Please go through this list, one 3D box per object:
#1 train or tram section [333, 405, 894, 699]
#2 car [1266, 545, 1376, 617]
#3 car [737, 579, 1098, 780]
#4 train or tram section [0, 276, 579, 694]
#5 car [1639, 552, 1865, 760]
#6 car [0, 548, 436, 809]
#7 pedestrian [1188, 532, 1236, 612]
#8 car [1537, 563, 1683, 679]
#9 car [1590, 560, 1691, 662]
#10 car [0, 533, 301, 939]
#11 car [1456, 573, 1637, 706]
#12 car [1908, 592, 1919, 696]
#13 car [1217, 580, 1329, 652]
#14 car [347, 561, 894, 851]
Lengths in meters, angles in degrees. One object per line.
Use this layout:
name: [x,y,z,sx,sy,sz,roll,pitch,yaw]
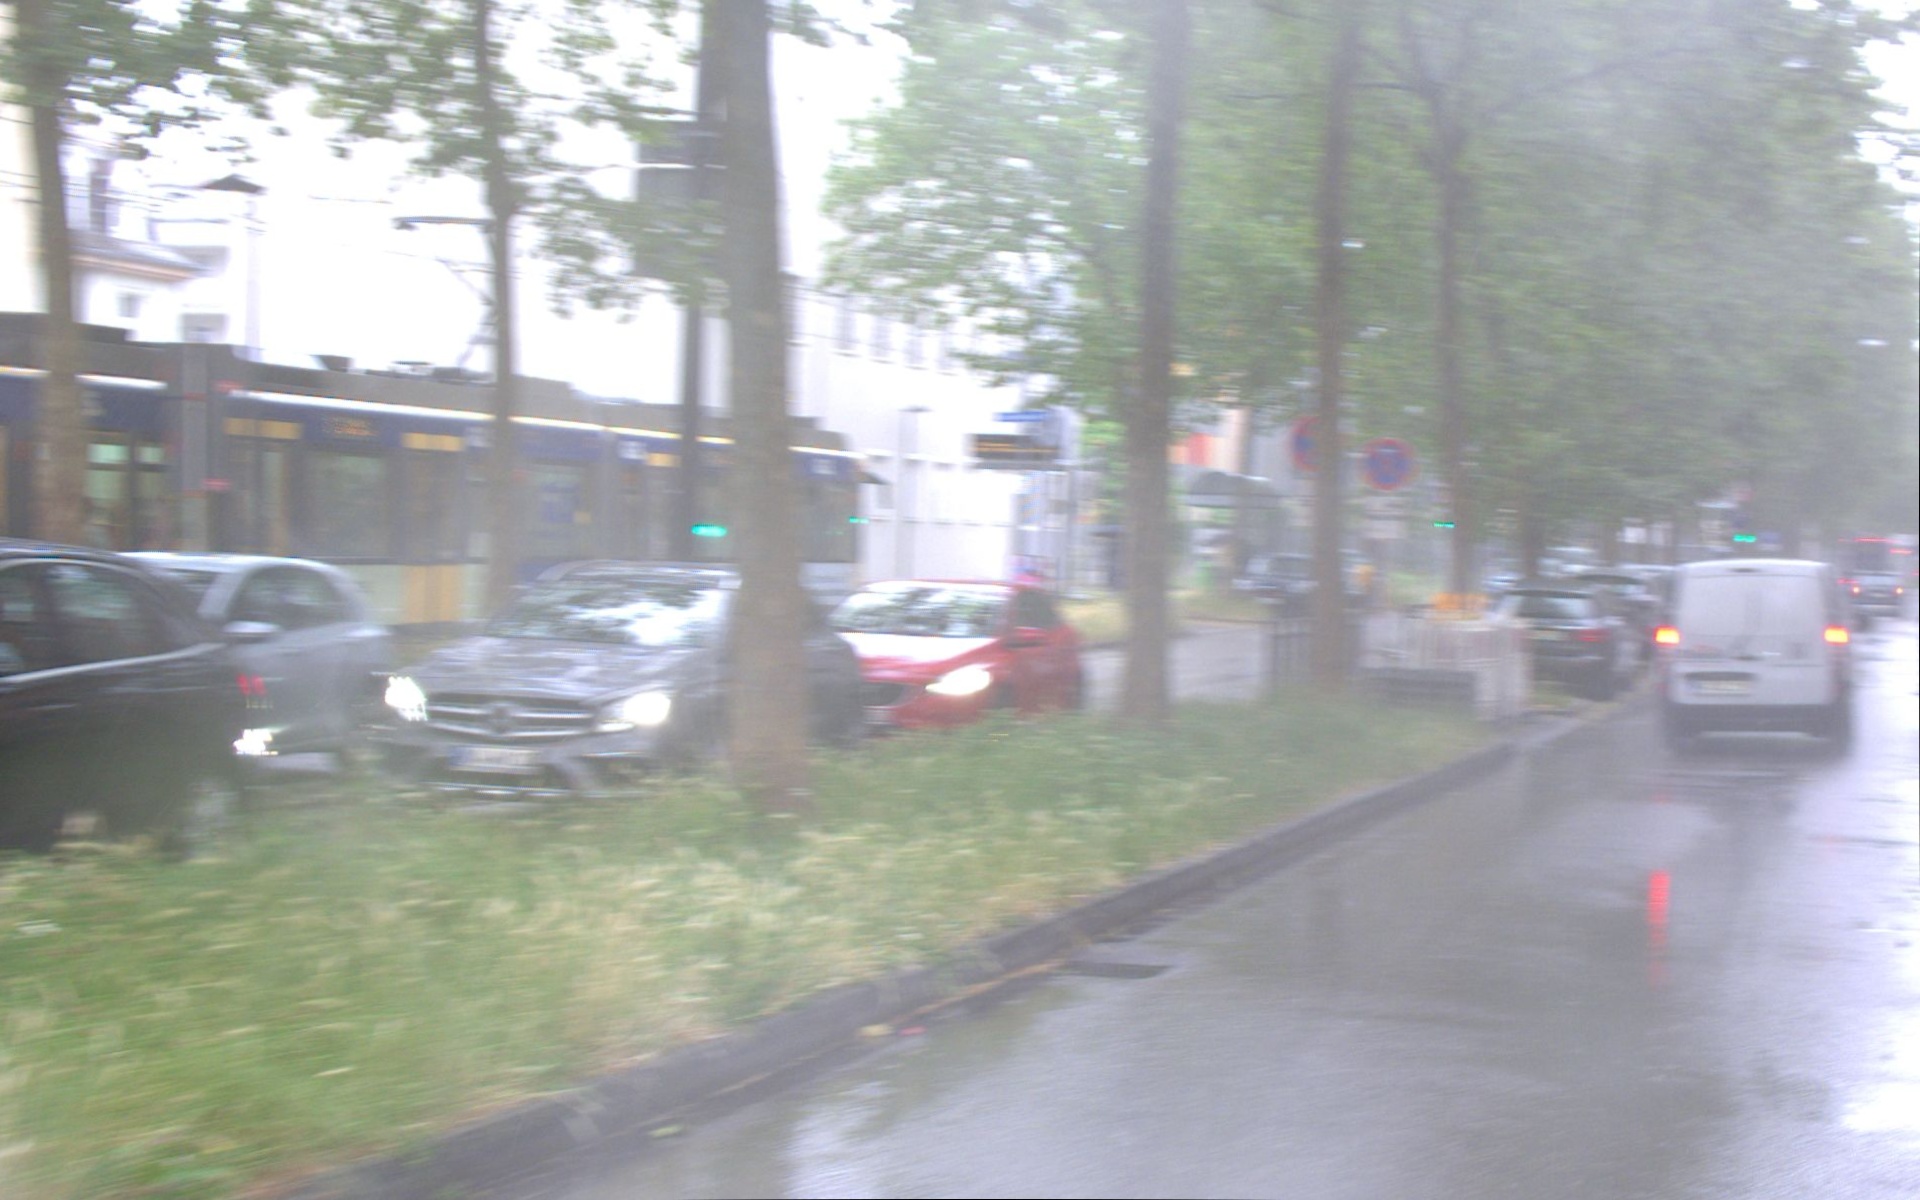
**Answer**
train or tram section: [-4.467,-0.419,49.750,3.108,3.546,14.664,2,-1,14]
car: [8.630,-0.463,81.875,1.995,1.607,3.997,3,1,14]
car: [-0.249,0.569,27.519,1.742,1.393,4.230,3,1,15]
train or tram section: [-8.125,-0.874,35.583,3.108,3.546,14.566,2,-1,15]
car: [7.553,0.522,32.923,1.905,1.791,4.111,2,0,12]
car: [-4.937,0.412,21.366,1.743,1.393,4.127,3,1,15]
pedestrian: [5.477,-0.604,74.685,0.818,1.698,0.871,3,1,14]
car: [9.954,0.298,52.447,1.700,1.630,4.351,2,1,17]
car: [12.308,0.172,62.087,1.625,1.676,3.657,3,2,12]
car: [-4.415,0.480,13.047,1.858,1.480,4.636,3,1,15]
car: [7.524,0.470,43.786,1.830,1.498,4.610,3,1,14]
car: [14.603,0.582,49.107,1.815,1.416,4.692,-1,0,18]
car: [6.755,0.323,73.921,1.740,1.338,3.753,5,2,14]
car: [-1.891,0.546,20.659,1.742,1.475,4.428,3,1,15]
